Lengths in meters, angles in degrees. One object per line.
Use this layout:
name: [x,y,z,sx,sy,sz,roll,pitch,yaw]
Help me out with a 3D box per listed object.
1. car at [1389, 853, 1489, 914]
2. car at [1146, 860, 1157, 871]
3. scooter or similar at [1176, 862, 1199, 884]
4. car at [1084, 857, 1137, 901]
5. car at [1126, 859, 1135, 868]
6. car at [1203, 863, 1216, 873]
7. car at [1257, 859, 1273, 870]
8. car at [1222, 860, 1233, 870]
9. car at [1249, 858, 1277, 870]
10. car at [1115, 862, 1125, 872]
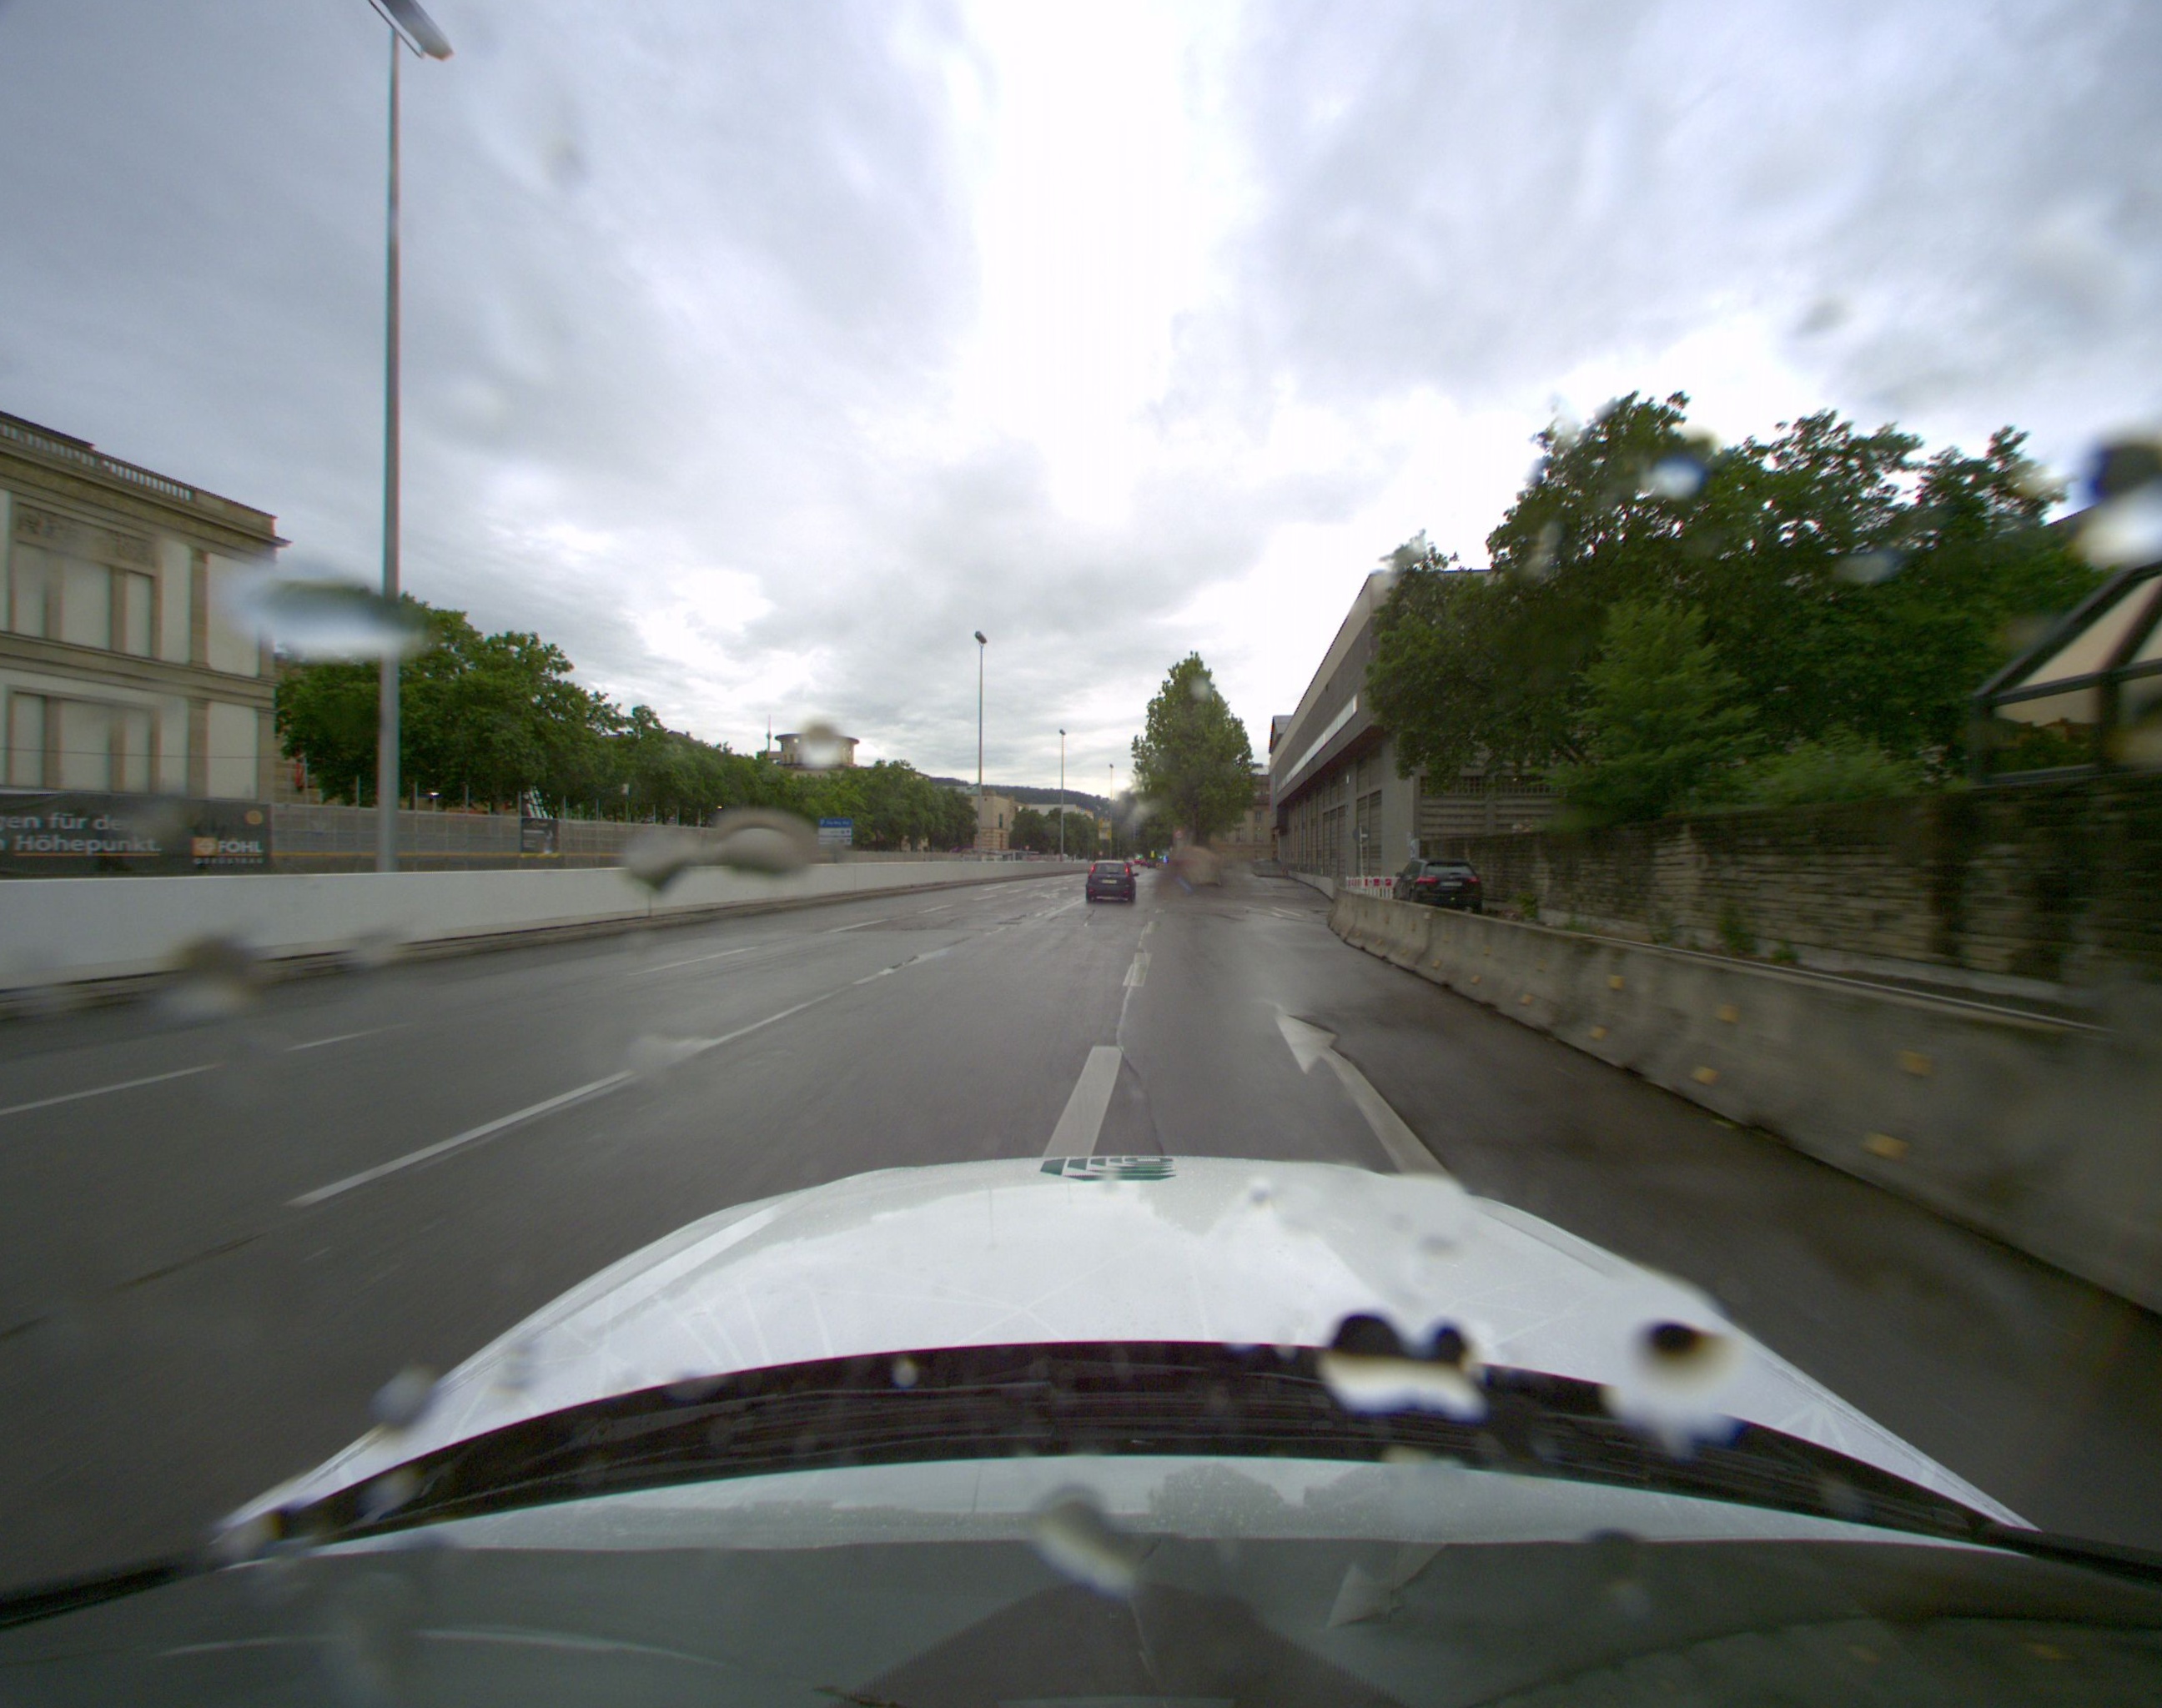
car: [10.155,0.783,23.432,1.792,1.552,4.340,0,0,12]
car: [14.185,2.244,163.598,1.983,2.013,4.008,2,0,7]
scooter or similar: [6.523,1.175,49.723,1.348,1.286,0.620,2,-2,8]
car: [1.125,0.860,29.408,1.662,1.427,3.763,1,0,5]
car: [11.411,2.202,187.333,1.986,2.014,4.002,3,-2,2]
car: [21.759,2.363,138.180,1.980,1.708,4.013,2,0,12]
car: [29.430,1.694,130.492,1.982,1.760,5.107,0,-2,8]
car: [28.634,2.197,159.028,1.980,1.709,4.012,2,-1,12]
car: [27.371,1.530,122.721,3.965,1.560,1.937,-1,-3,7]
car: [5.738,1.887,120.245,1.380,1.386,3.069,0,-1,3]
